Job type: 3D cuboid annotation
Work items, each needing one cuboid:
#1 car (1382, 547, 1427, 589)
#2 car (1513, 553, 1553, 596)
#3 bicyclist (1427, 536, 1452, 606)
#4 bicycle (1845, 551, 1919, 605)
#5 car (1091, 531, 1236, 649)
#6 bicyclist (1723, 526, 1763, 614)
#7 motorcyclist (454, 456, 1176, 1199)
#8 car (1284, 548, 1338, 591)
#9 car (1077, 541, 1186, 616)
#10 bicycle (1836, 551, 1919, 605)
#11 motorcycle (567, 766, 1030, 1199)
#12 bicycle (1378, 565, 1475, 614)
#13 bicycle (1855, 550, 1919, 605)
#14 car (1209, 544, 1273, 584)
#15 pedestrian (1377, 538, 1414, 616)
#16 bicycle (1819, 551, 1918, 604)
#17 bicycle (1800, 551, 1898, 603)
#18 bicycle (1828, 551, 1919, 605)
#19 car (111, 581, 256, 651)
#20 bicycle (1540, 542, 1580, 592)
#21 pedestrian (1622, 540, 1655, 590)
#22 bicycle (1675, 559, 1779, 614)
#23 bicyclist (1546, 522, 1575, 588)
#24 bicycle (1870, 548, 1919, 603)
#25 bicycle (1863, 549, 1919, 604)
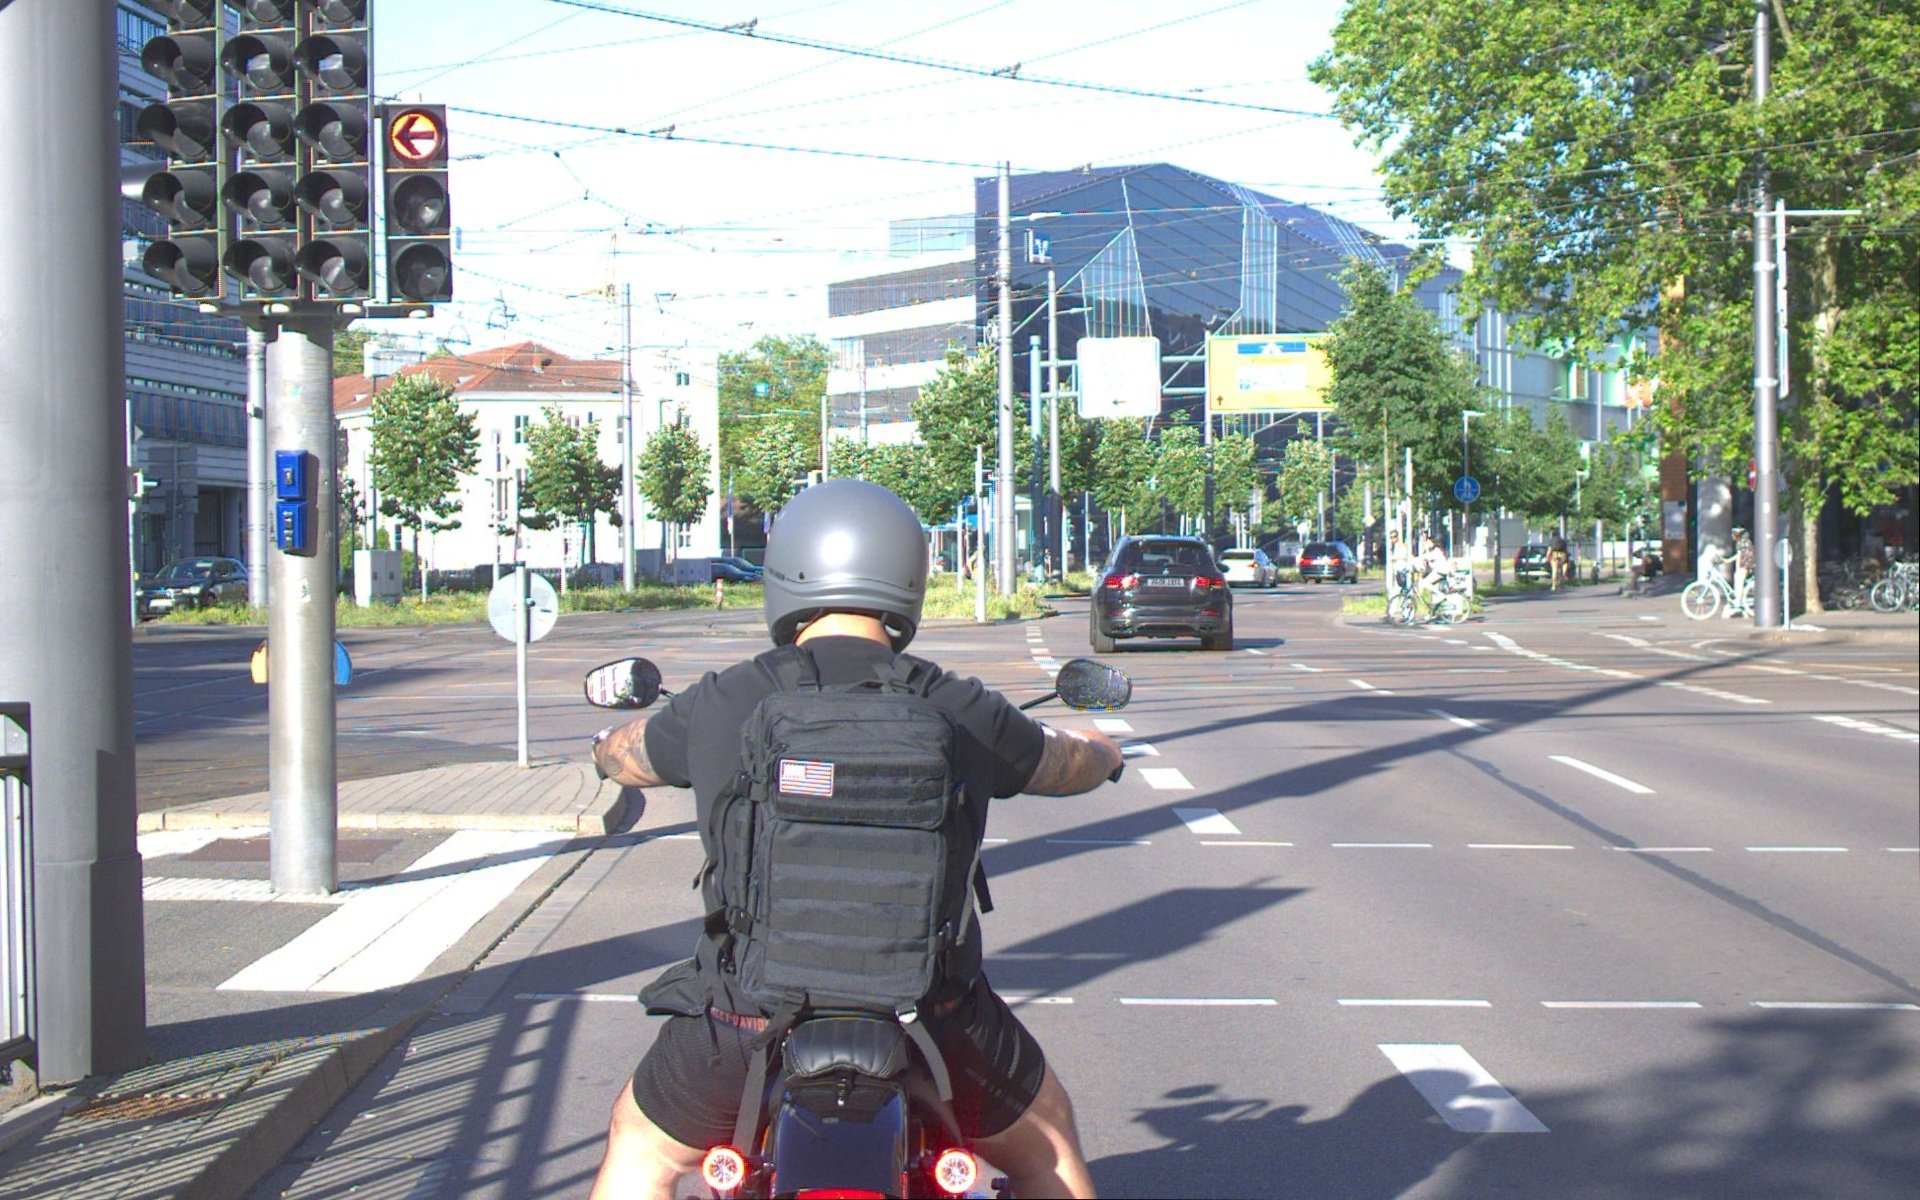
[{"bbox_3d":[20.055,-1.417,155.033,1.730,1.831,3.573,1,0,12],"label":"car"},{"bbox_3d":[25.381,-1.122,152.158,1.531,1.831,3.573,1,0,12],"label":"car"},{"bbox_3d":[9.358,-0.567,67.104,0.380,1.368,0.345,1,0,-9],"label":"bicyclist"},{"bbox_3d":[18.467,-0.429,67.882,1.880,1.043,0.360,1,1,-1],"label":"bicycle"},{"bbox_3d":[2.952,-0.176,49.007,1.804,1.590,4.452,0,1,7],"label":"car"},{"bbox_3d":[14.840,-0.566,65.144,0.688,1.667,0.540,0,0,19],"label":"bicyclist"},{"bbox_3d":[-0.210,0.582,5.379,1.030,1.588,0.873,0,1,-1],"label":"motorcyclist"},{"bbox_3d":[14.402,-1.238,140.889,1.804,1.672,4.039,1,0,11],"label":"car"},{"bbox_3d":[3.379,-0.450,68.299,1.803,1.425,4.453,0,1,-2],"label":"car"},{"bbox_3d":[18.443,-0.433,68.513,1.880,1.043,0.360,1,0,-1],"label":"bicycle"},{"bbox_3d":[-0.229,0.868,5.616,0.600,1.032,2.234,1,1,-1],"label":"motorcycle"},{"bbox_3d":[9.098,-0.211,67.075,1.825,0.922,0.358,1,0,-8],"label":"bicycle"},{"bbox_3d":[18.517,-0.438,67.325,1.880,1.043,0.360,1,0,-1],"label":"bicycle"},{"bbox_3d":[10.338,-1.322,126.173,1.804,1.425,4.451,0,1,12],"label":"car"},{"bbox_3d":[8.702,-0.463,68.707,0.587,1.551,0.489,1,0,-8],"label":"pedestrian"},{"bbox_3d":[18.356,-0.458,69.498,1.880,1.043,0.360,1,1,-1],"label":"bicycle"},{"bbox_3d":[18.266,-0.475,70.648,1.880,1.043,0.360,1,1,-1],"label":"bicycle"},{"bbox_3d":[18.412,-0.448,68.999,1.880,1.043,0.360,1,1,-1],"label":"bicycle"},{"bbox_3d":[-17.704,0.356,78.564,1.750,1.519,3.998,1,0,11],"label":"car"},{"bbox_3d":[16.615,-0.905,95.239,0.726,1.362,2.917,1,0,3],"label":"bicycle"},{"bbox_3d":[17.895,-0.913,90.704,0.819,1.309,0.637,1,0,9],"label":"pedestrian"},{"bbox_3d":[14.555,-0.250,65.243,1.872,1.040,0.536,0,0,19],"label":"bicycle"},{"bbox_3d":[16.622,-1.246,95.154,0.697,1.802,0.728,1,0,4],"label":"bicyclist"},{"bbox_3d":[18.384,-0.456,65.726,1.880,1.043,0.360,1,0,-1],"label":"bicycle"},{"bbox_3d":[18.458,-0.447,66.510,1.880,1.043,0.360,1,0,-1],"label":"bicycle"}]
